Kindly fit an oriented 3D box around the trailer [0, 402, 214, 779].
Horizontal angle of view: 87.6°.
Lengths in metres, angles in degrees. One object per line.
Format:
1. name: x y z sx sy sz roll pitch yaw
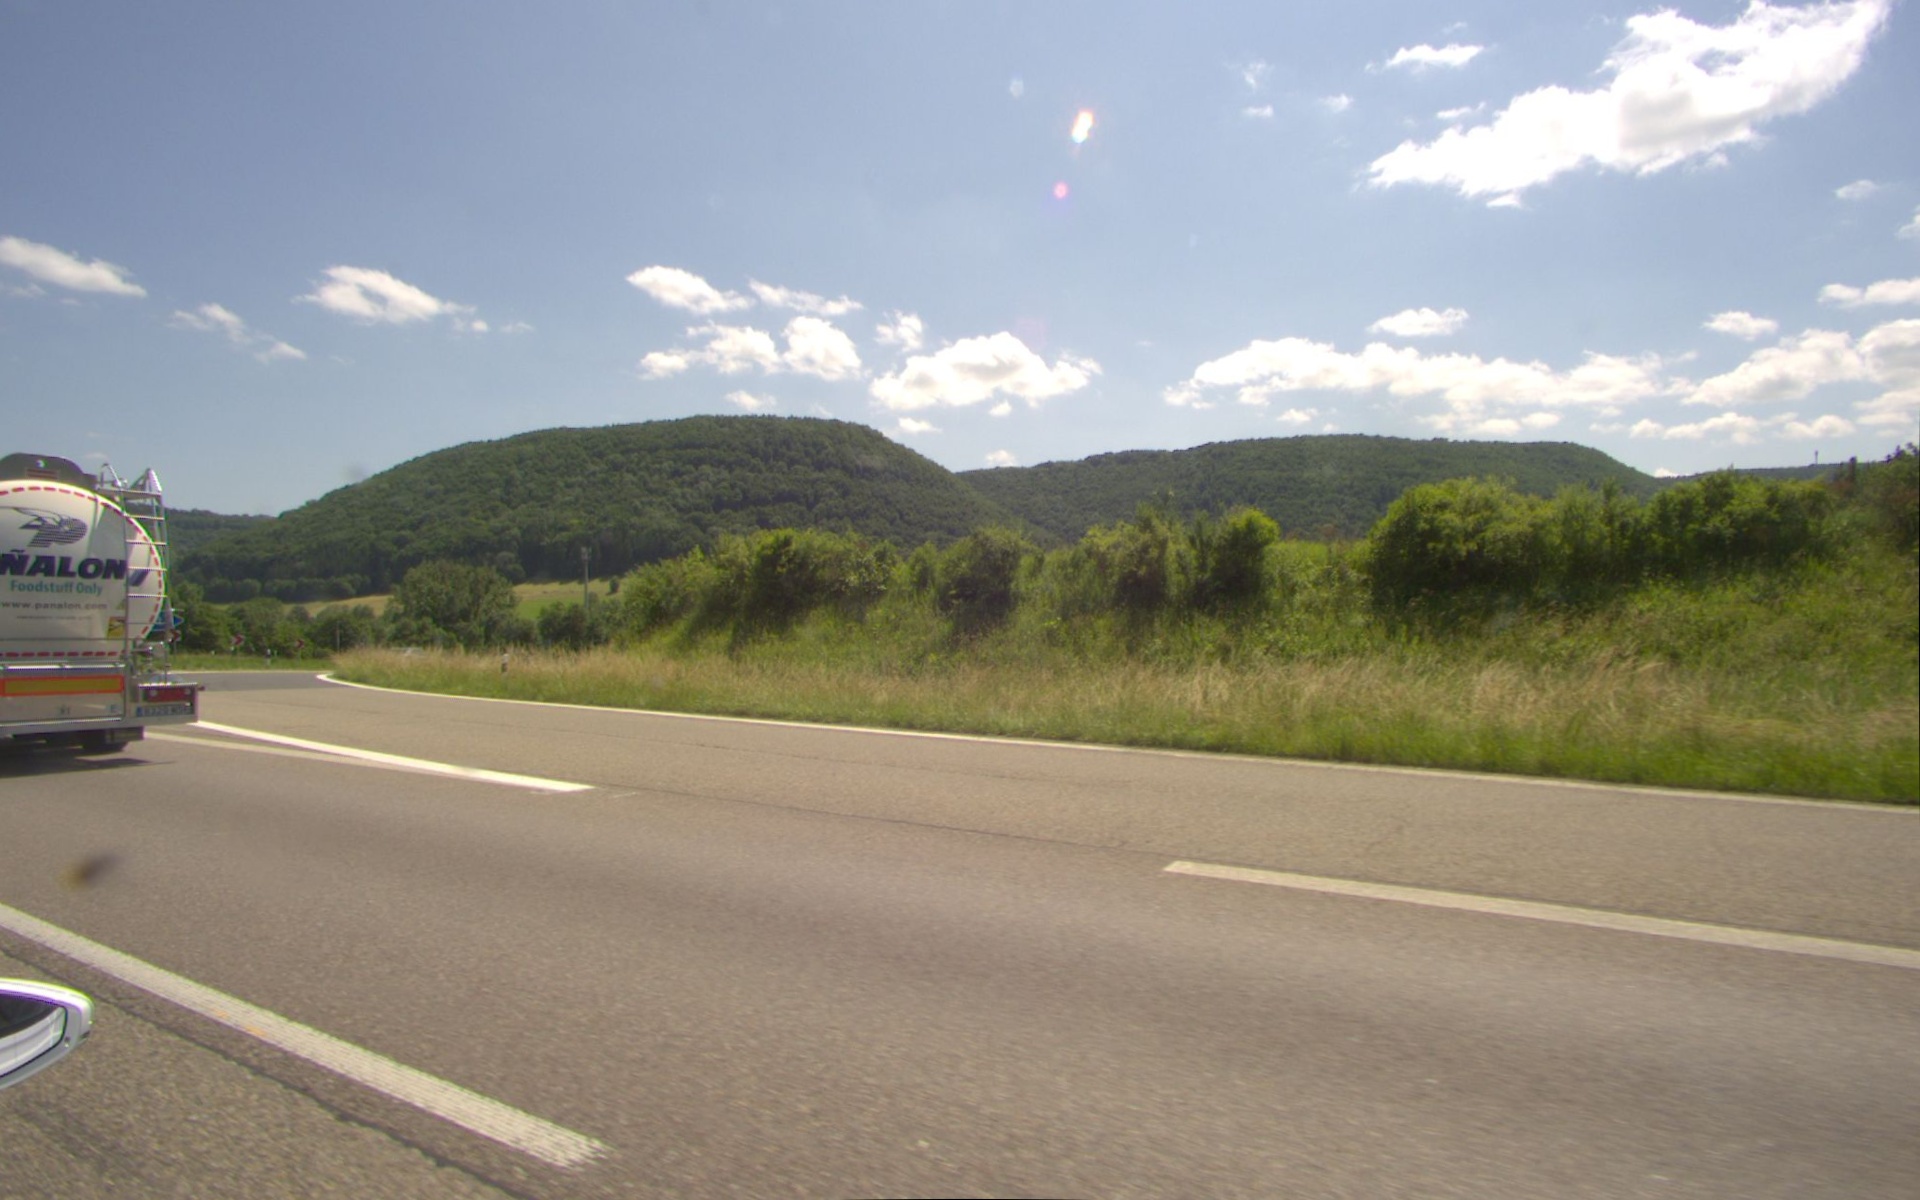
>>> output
1. trailer: -14.308 0.000 13.662 11.720 3.784 2.534 -1 -1 32
